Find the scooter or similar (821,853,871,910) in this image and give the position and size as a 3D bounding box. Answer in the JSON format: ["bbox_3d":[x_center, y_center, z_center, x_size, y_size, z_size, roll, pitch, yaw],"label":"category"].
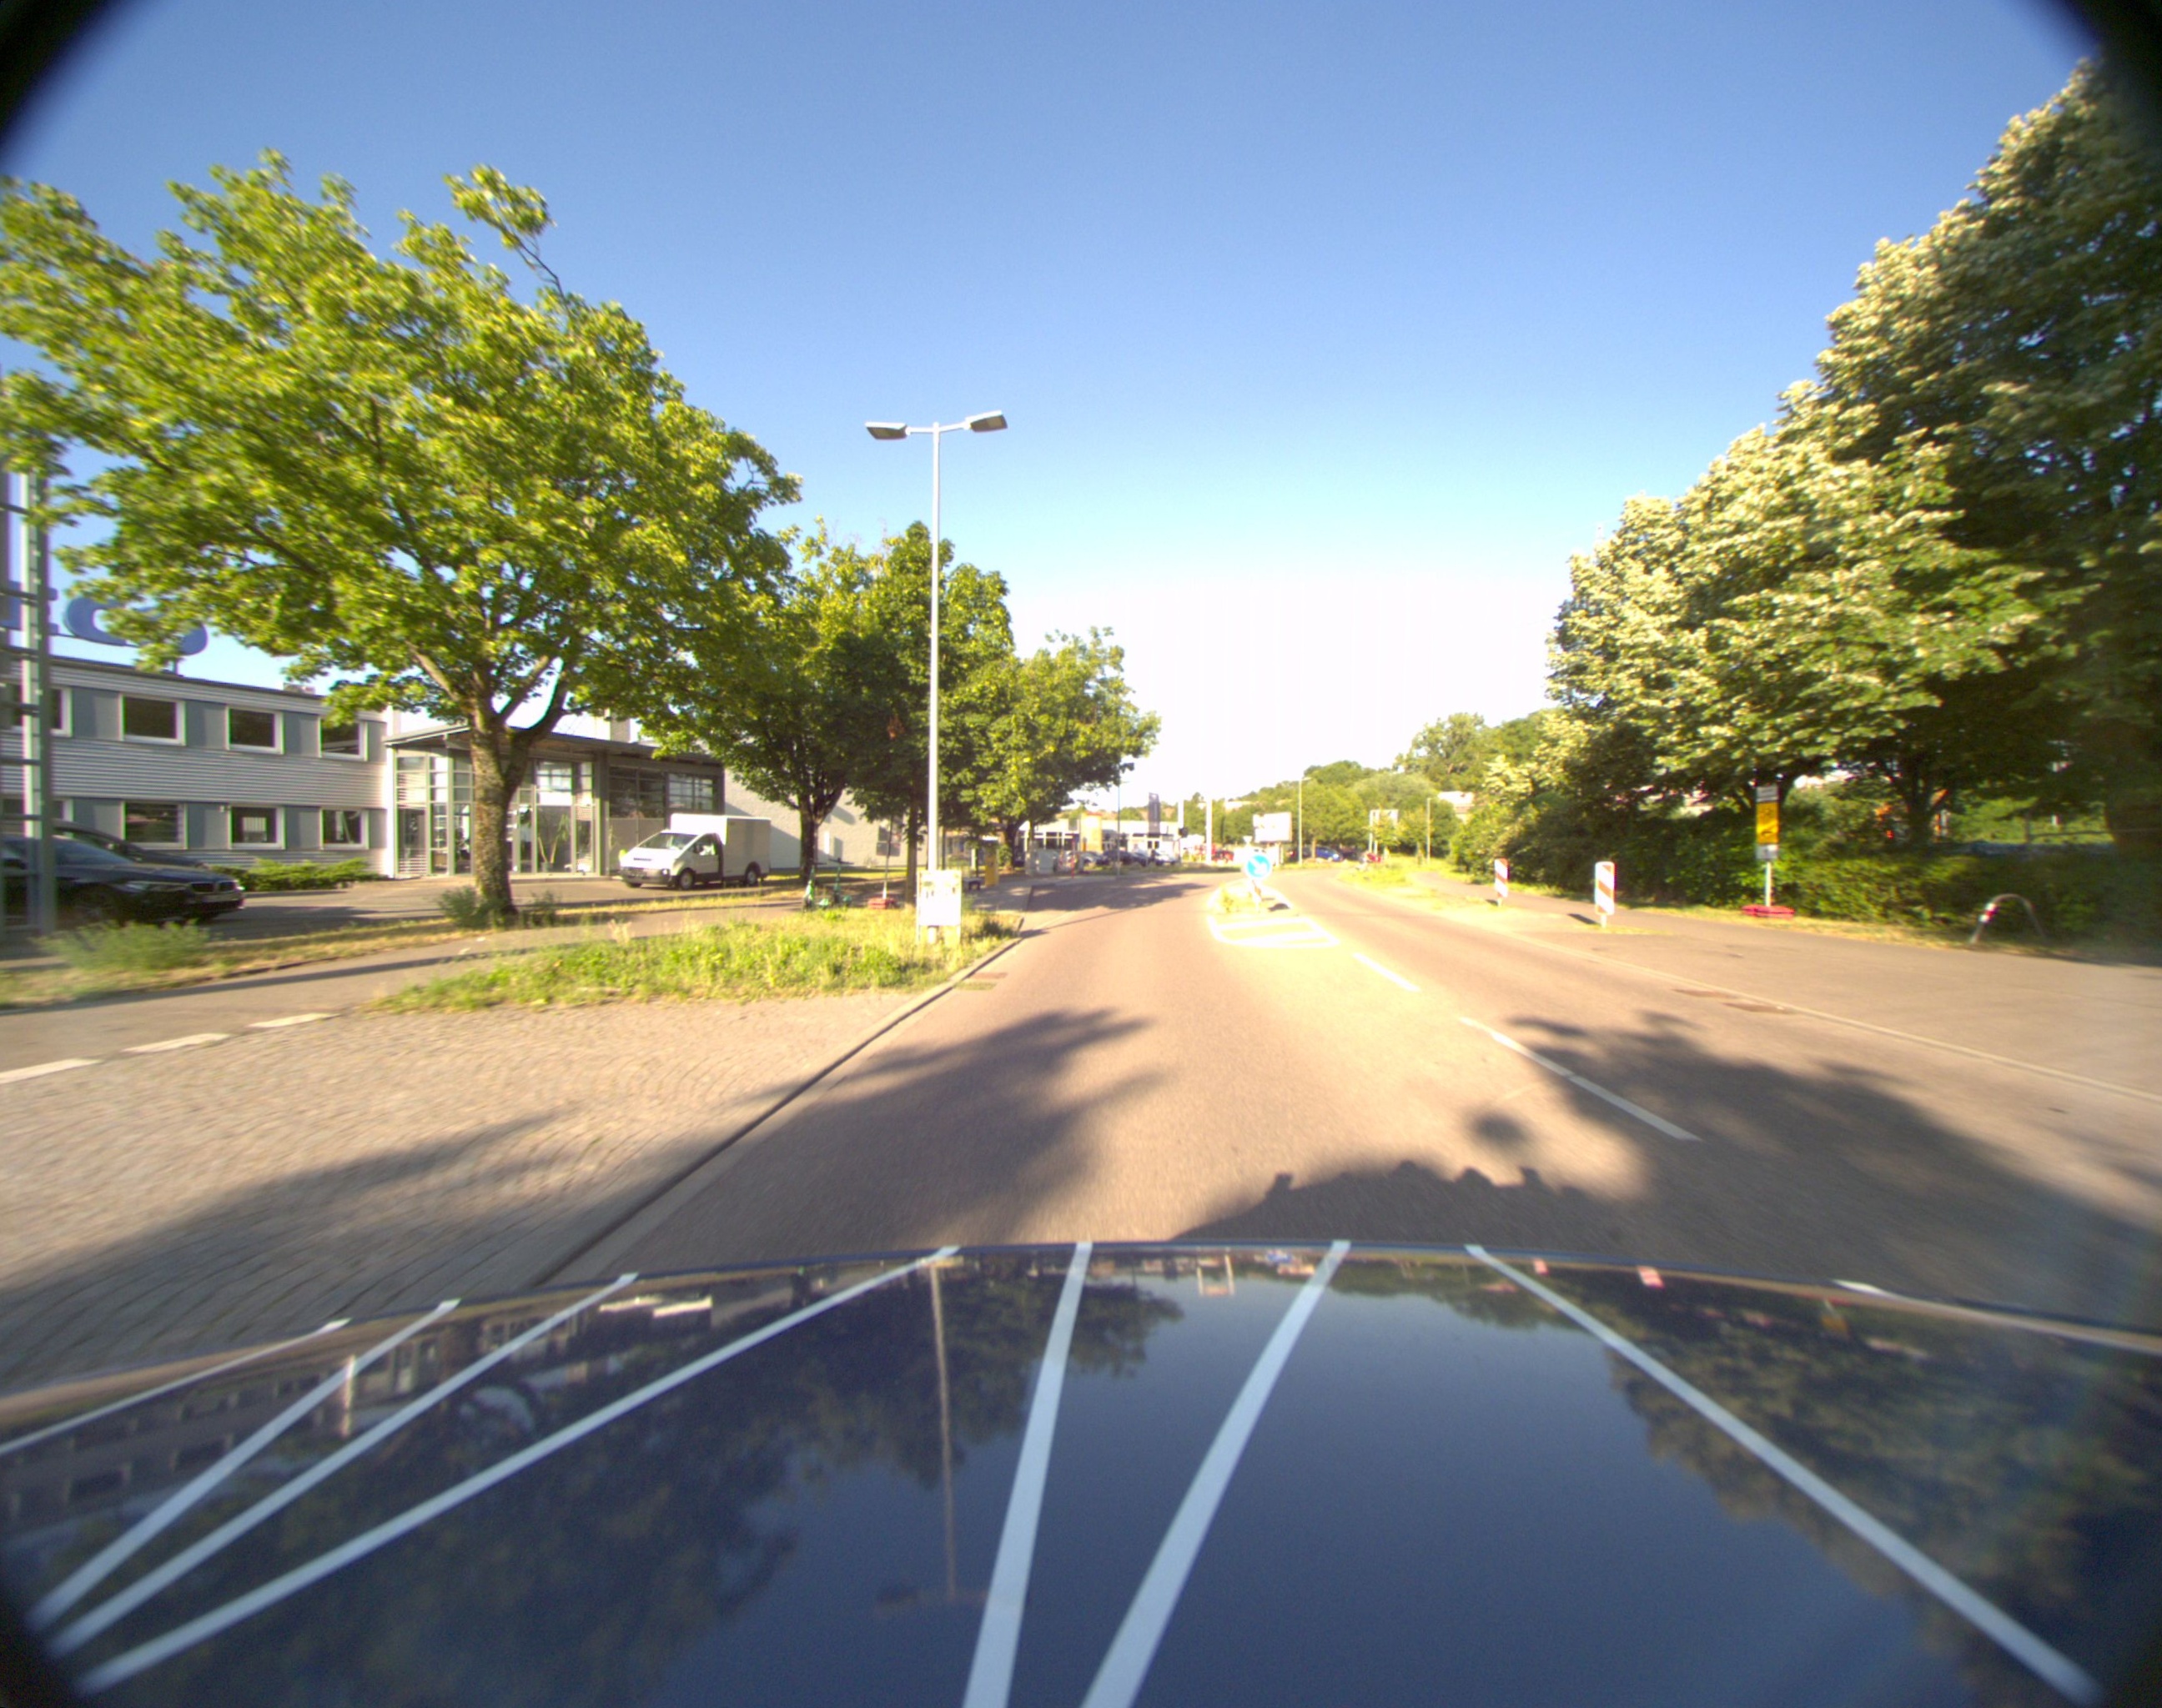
[{"bbox_3d":[-5.707,0.635,18.544,0.547,1.328,1.483,1,1,10],"label":"scooter or similar"}]

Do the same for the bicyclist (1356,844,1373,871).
[{"bbox_3d":[18.324,0.210,49.077,0.952,1.742,0.913,1,1,26],"label":"bicyclist"}]

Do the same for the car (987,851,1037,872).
[{"bbox_3d":[-7.075,0.729,77.643,4.832,2.002,2.305,1,1,39],"label":"car"}]

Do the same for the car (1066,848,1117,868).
[{"bbox_3d":[1.079,0.374,79.415,4.833,2.002,2.305,1,1,35],"label":"car"}]

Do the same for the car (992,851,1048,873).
[{"bbox_3d":[-5.765,0.704,71.446,4.833,2.002,2.305,1,1,34],"label":"car"}]

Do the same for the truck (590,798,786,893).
[{"bbox_3d":[-12.852,-0.275,25.502,2.542,2.704,5.977,3,1,12],"label":"truck"}]

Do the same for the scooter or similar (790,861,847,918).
[{"bbox_3d":[-5.856,0.764,17.017,0.547,1.190,1.483,1,1,10],"label":"scooter or similar"}]

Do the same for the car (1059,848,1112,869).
[{"bbox_3d":[0.425,0.441,76.865,4.833,2.002,2.305,1,1,35],"label":"car"}]

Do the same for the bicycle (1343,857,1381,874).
[{"bbox_3d":[18.077,0.731,48.950,2.157,1.094,0.927,1,1,28],"label":"bicycle"}]

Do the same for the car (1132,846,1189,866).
[{"bbox_3d":[8.117,0.154,77.920,5.275,2.002,2.410,1,1,35],"label":"car"}]

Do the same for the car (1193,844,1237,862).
[{"bbox_3d":[16.000,-0.145,90.910,2.304,2.002,4.833,0,1,-39],"label":"car"}]

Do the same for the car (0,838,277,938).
[{"bbox_3d":[-16.622,0.490,12.168,4.816,1.483,1.997,0,1,-13],"label":"car"}]
